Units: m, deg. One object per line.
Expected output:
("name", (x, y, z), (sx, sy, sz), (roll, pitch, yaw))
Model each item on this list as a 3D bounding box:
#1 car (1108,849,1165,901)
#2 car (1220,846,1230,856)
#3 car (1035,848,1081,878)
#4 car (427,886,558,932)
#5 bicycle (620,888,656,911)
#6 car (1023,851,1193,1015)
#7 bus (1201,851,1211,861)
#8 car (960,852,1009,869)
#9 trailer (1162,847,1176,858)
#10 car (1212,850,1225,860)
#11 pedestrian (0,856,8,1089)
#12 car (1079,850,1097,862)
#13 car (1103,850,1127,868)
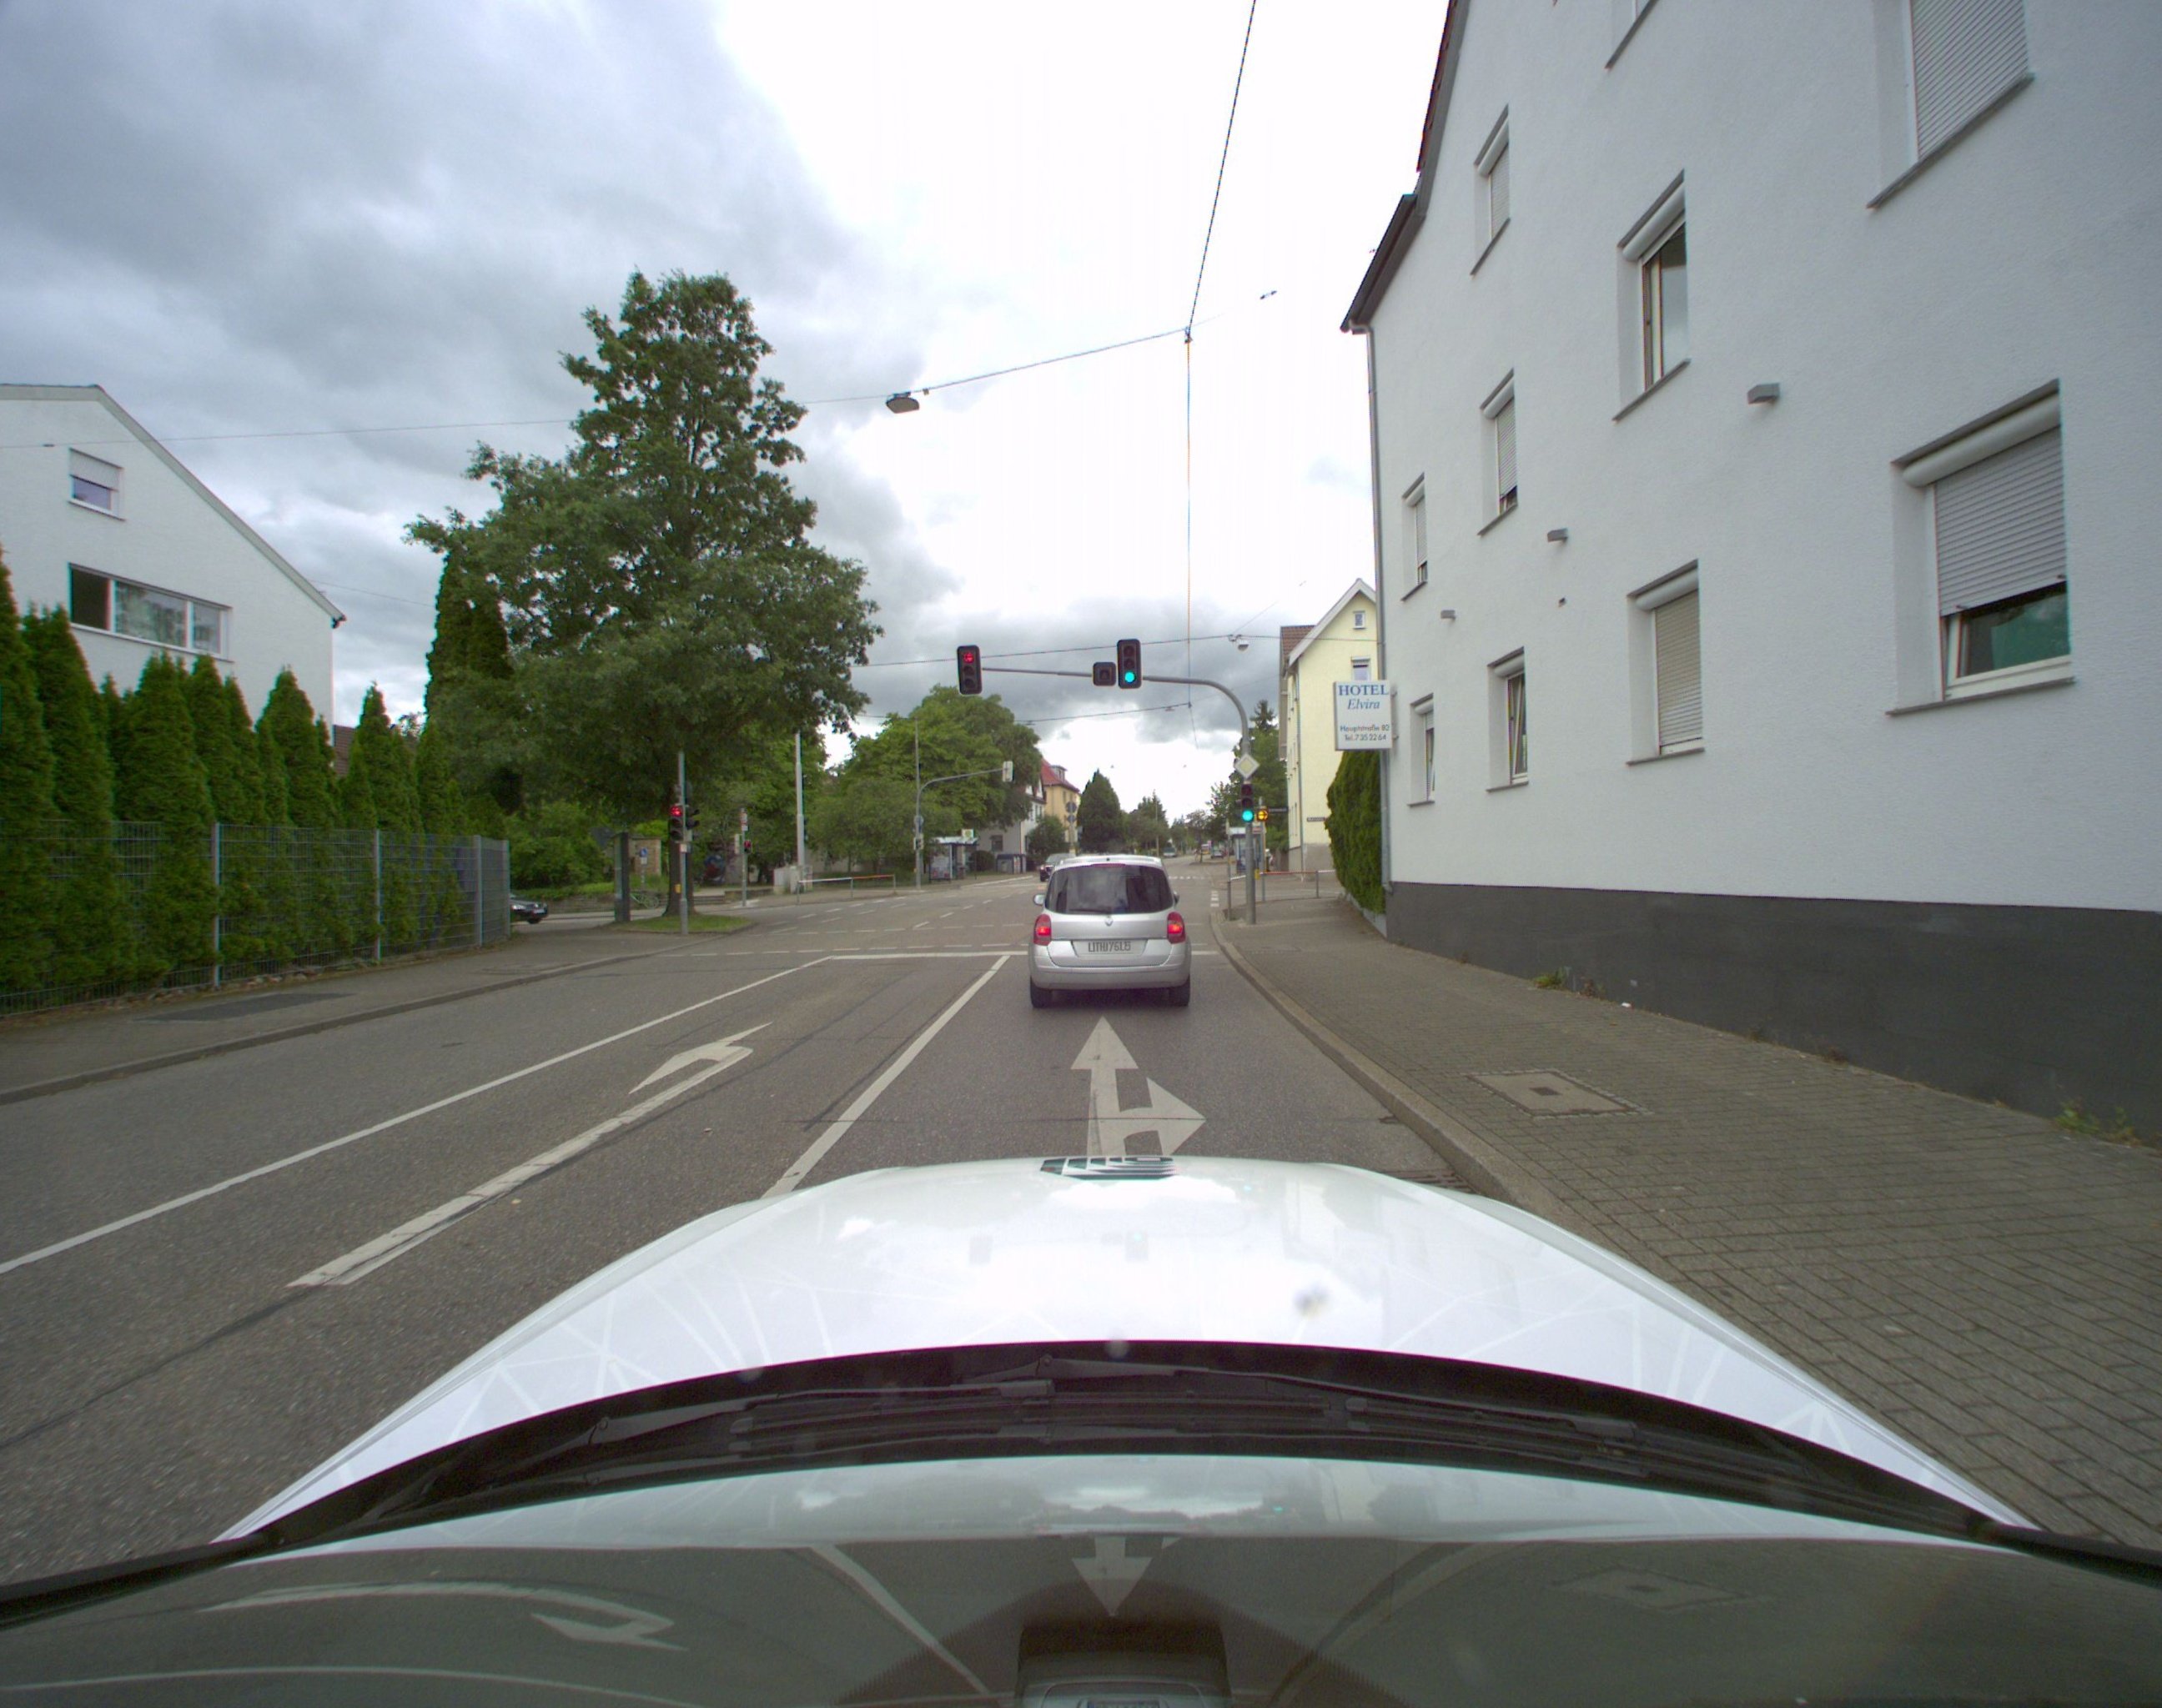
("car", (2.008, 0.699, 28.749), (1.820, 1.675, 3.579), (-2, 0, 5))
("car", (25.309, -0.517, 143.167), (1.652, 1.564, 4.109), (-2, 0, 9))
("car", (-1.365, 0.557, 50.446), (1.747, 1.635, 4.609), (-4, -1, 11))
("car", (-21.571, 2.003, 29.930), (3.613, 1.398, 1.776), (-3, 0, 8))
("bicycle", (-20.312, 2.092, 37.348), (1.312, 0.942, 0.424), (-5, 0, -7))
("car", (0.389, 0.778, 9.811), (1.623, 1.557, 4.004), (0, -1, 4))
("bus", (40.246, 0.588, 261.940), (2.615, 3.086, 12.105), (-3, 0, 10))
("car", (-8.755, 0.604, 73.807), (3.963, 1.332, 1.727), (-4, -2, 9))
("trailer", (17.383, -0.205, 161.040), (2.297, 2.087, 5.889), (0, -1, 10))
("car", (20.280, 0.171, 120.261), (1.639, 1.382, 4.013), (-1, -1, 12))
("pedestrian", (-8.581, 0.891, 5.565), (0.818, 1.754, 1.230), (0, -1, 2))
("car", (1.040, 0.243, 111.872), (1.796, 1.564, 4.629), (-4, 0, 8))
("car", (3.012, 0.457, 71.526), (1.554, 1.420, 4.142), (-2, -1, 10))
